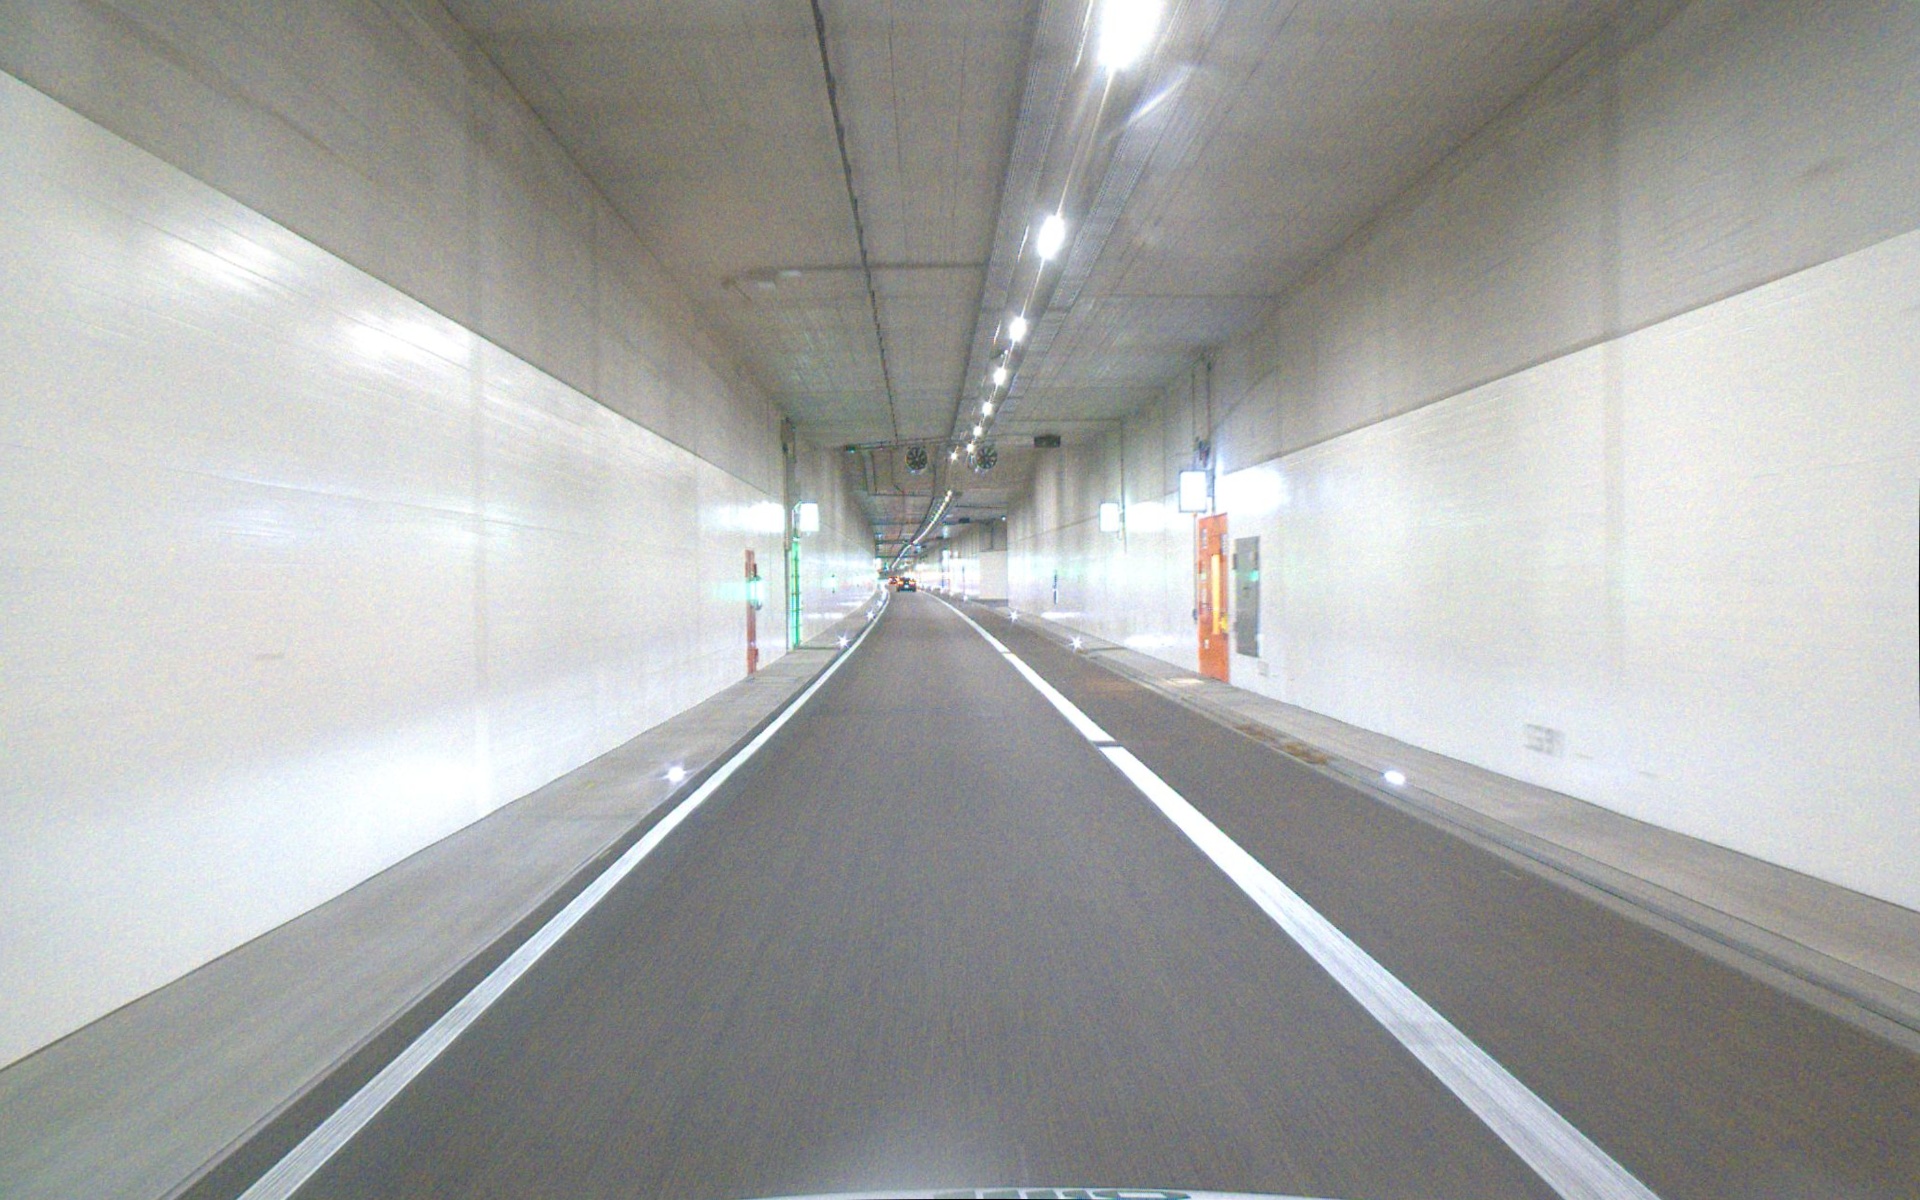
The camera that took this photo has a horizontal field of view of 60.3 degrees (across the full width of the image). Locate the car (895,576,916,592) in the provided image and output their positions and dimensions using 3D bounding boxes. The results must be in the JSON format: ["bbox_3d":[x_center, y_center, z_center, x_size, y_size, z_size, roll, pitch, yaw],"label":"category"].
[{"bbox_3d":[-5.212,-1.504,157.704,1.954,1.445,3.998,-1,1,-3],"label":"car"}]
